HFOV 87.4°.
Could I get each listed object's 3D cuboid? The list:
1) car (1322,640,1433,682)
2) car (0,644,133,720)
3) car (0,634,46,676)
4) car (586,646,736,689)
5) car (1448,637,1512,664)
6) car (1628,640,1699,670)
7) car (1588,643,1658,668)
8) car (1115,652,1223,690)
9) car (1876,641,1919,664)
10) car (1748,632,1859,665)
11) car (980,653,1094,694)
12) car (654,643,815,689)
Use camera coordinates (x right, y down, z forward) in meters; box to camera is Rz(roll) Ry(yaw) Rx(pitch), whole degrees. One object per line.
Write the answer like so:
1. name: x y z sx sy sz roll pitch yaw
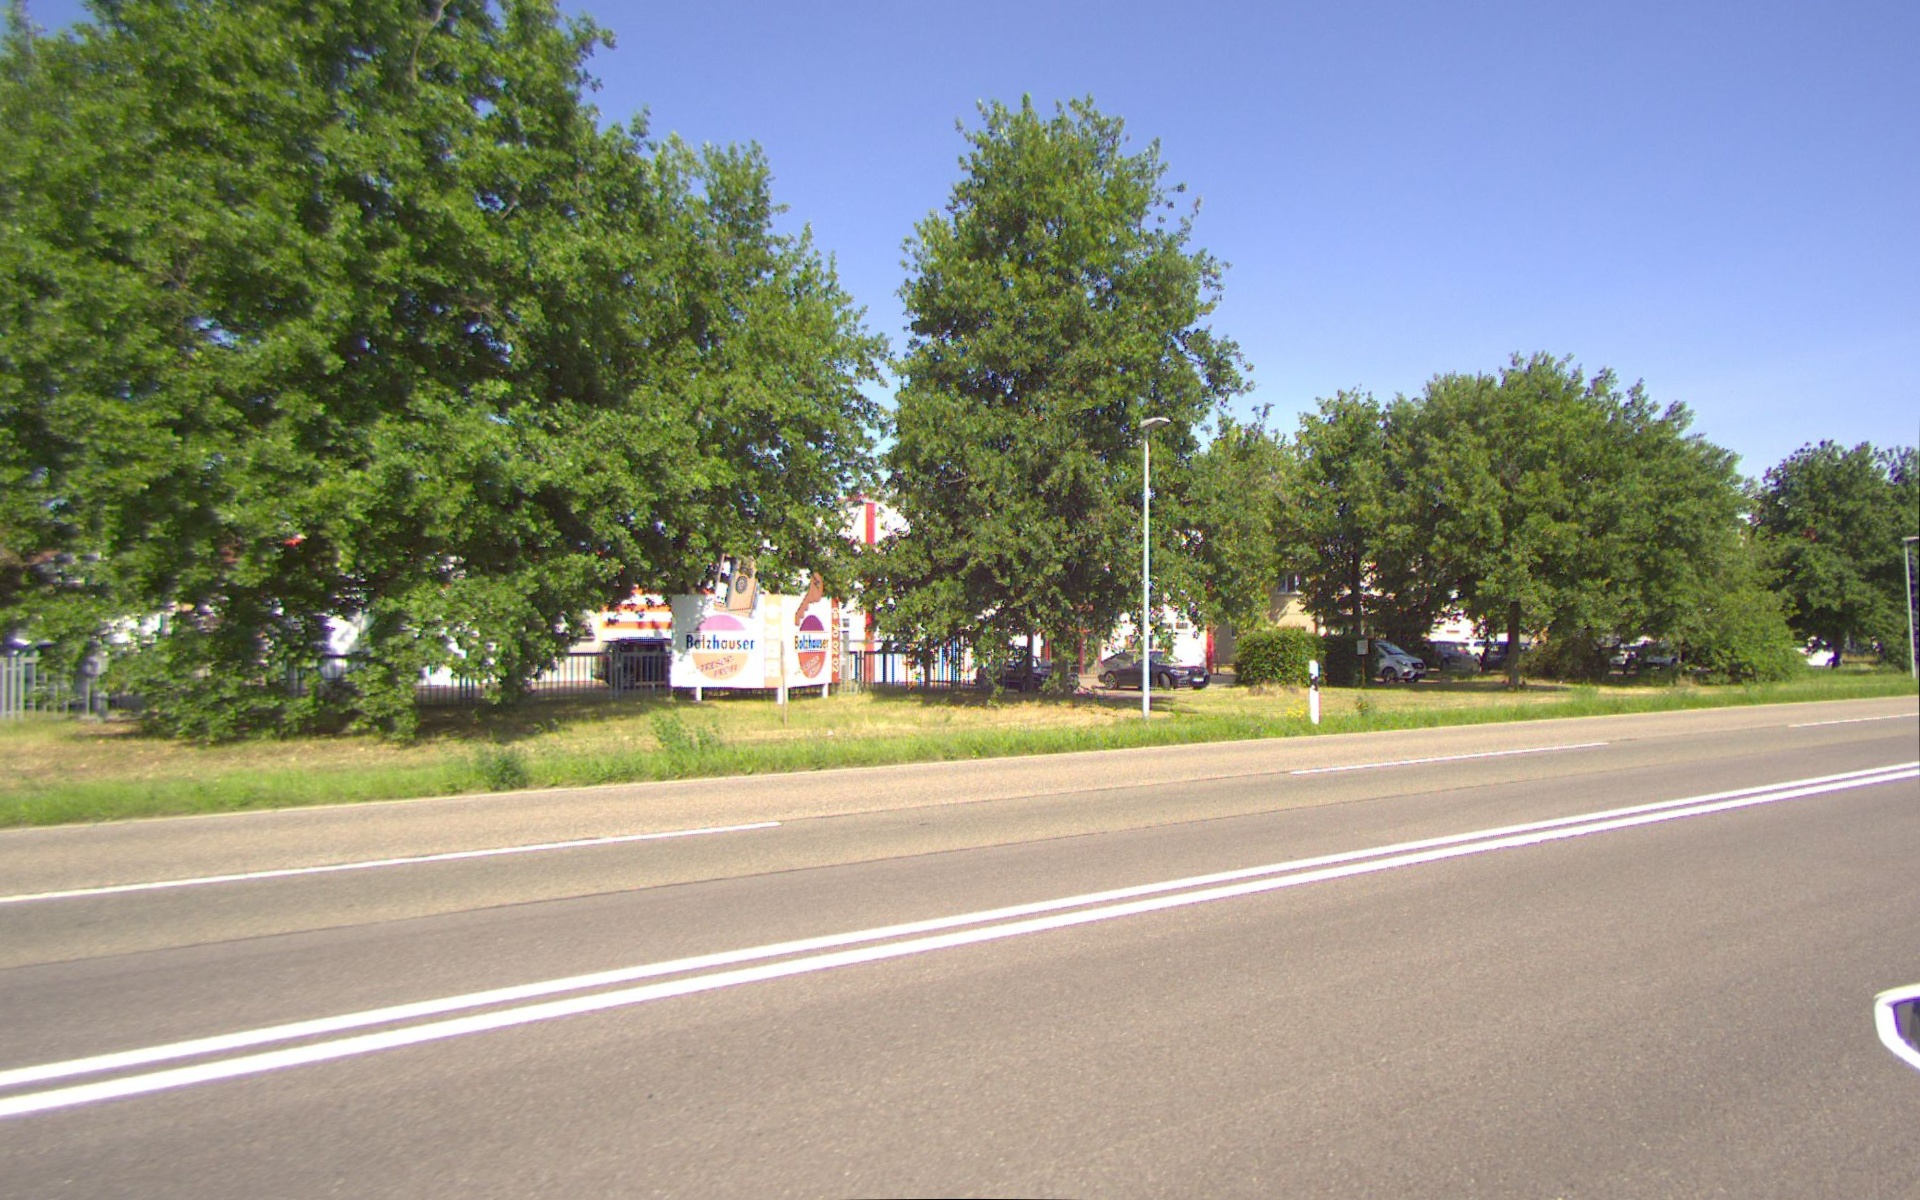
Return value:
1. car: 18.513 2.713 44.704 1.977 1.753 4.204 1 -4 -30
2. car: -20.108 1.755 22.525 1.737 1.520 3.969 1 -2 -30
3. car: -36.571 2.043 37.457 1.441 1.579 3.381 -1 -2 27
4. car: -10.148 2.269 34.238 4.613 1.367 1.777 2 -3 -33
5. car: 34.274 3.291 66.165 4.120 1.680 1.847 1 -2 -31
6. car: 40.426 3.144 57.698 4.145 1.673 1.919 1 -2 -32
7. car: 39.523 3.294 59.866 4.145 1.412 1.919 1 -2 -32
8. car: 7.834 2.657 37.963 1.840 1.323 3.971 1 -4 -29
9. car: 69.059 3.839 73.567 4.496 1.599 1.735 1 -2 -31
10. car: 50.975 2.922 60.768 4.916 1.954 2.074 1 -2 0
11. car: 2.599 2.590 35.054 1.835 1.342 4.332 2 -6 -30
12. car: -7.040 2.030 31.537 4.613 1.367 1.777 2 -3 -33
